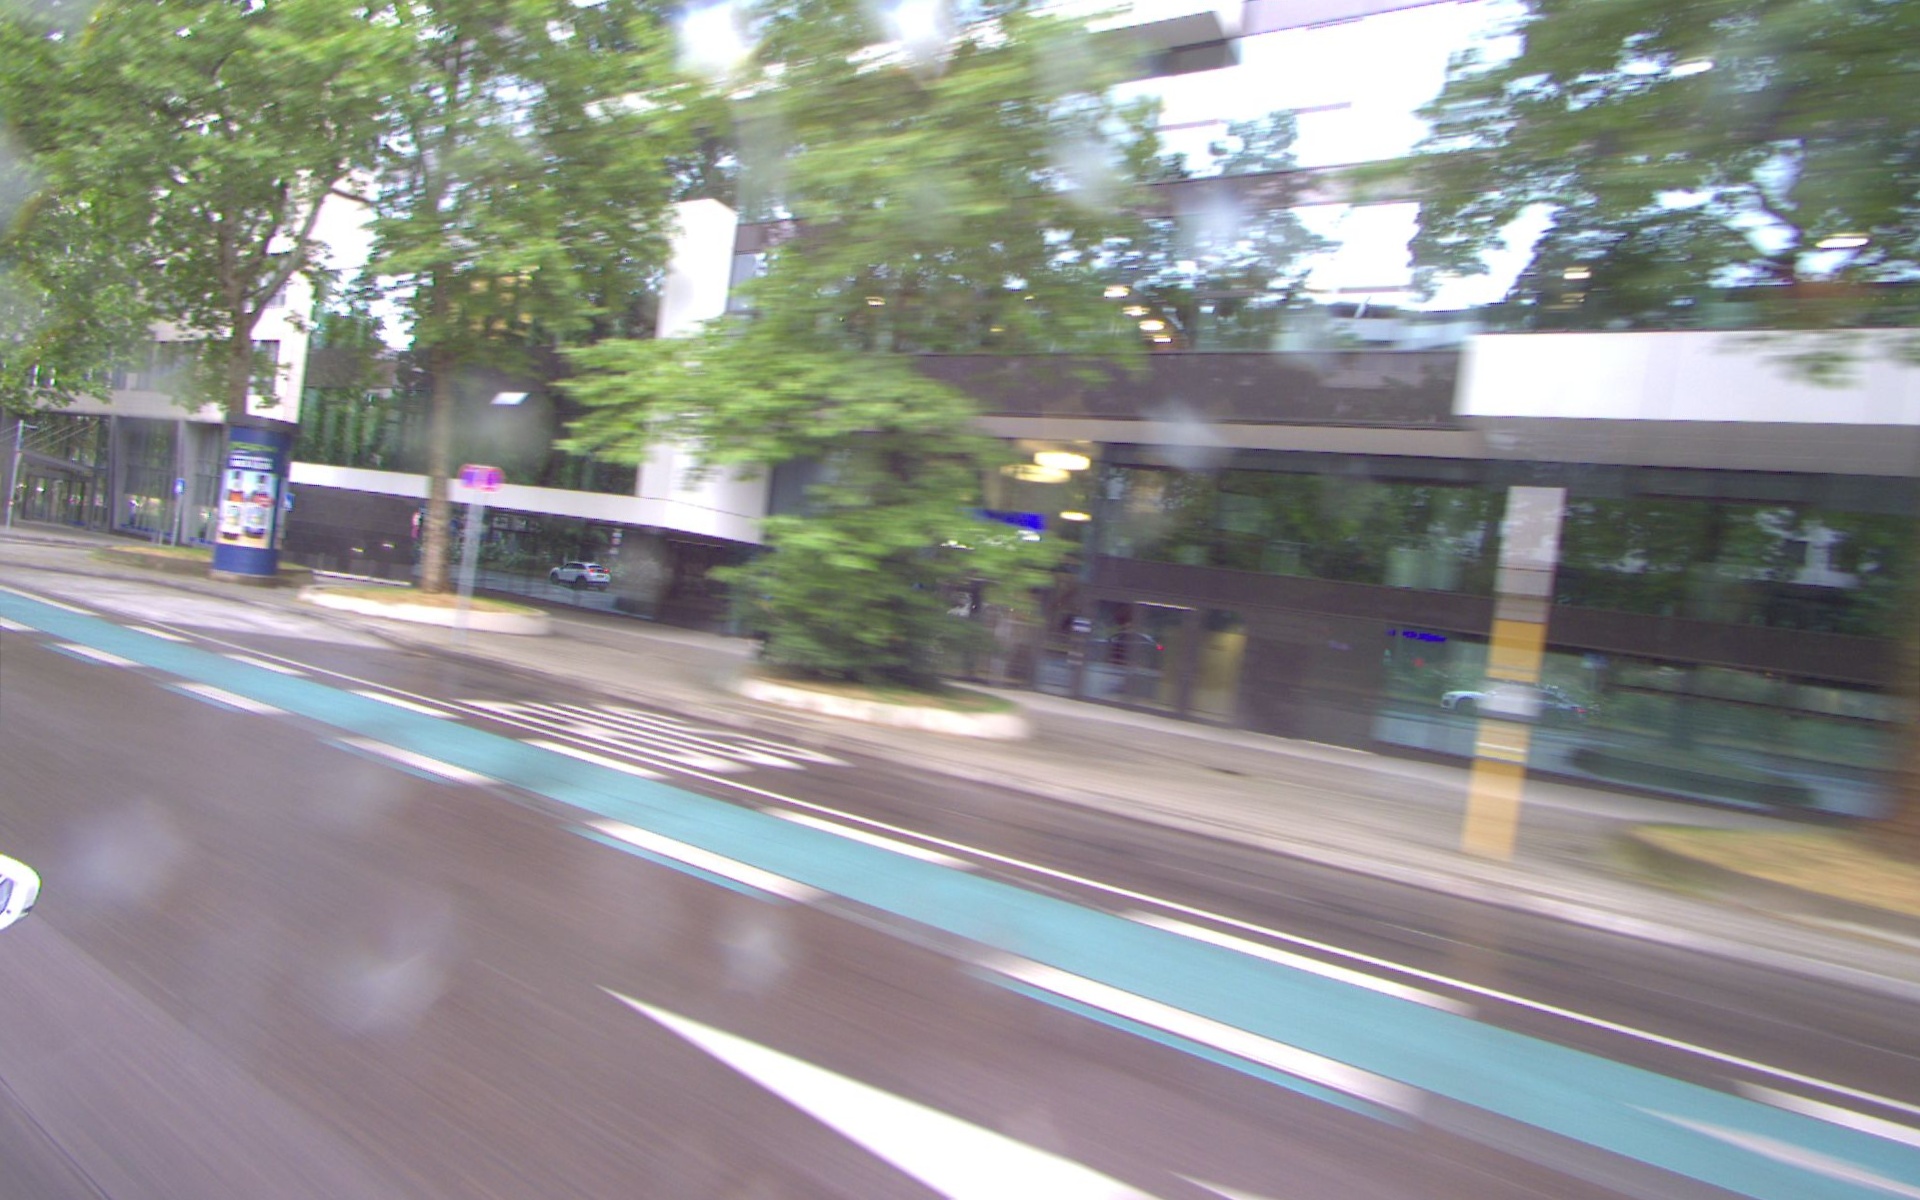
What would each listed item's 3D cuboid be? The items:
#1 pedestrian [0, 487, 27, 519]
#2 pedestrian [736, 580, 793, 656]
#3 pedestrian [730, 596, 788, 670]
[{"bbox_3d":[-55.543,-5.672,59.066,0.718,1.714,0.825,7,1,-16],"label":"pedestrian"},{"bbox_3d":[-5.079,0.469,26.113,1.070,1.817,0.786,8,3,38],"label":"pedestrian"},{"bbox_3d":[-4.542,0.738,22.687,0.989,1.524,0.587,7,1,32],"label":"pedestrian"}]
